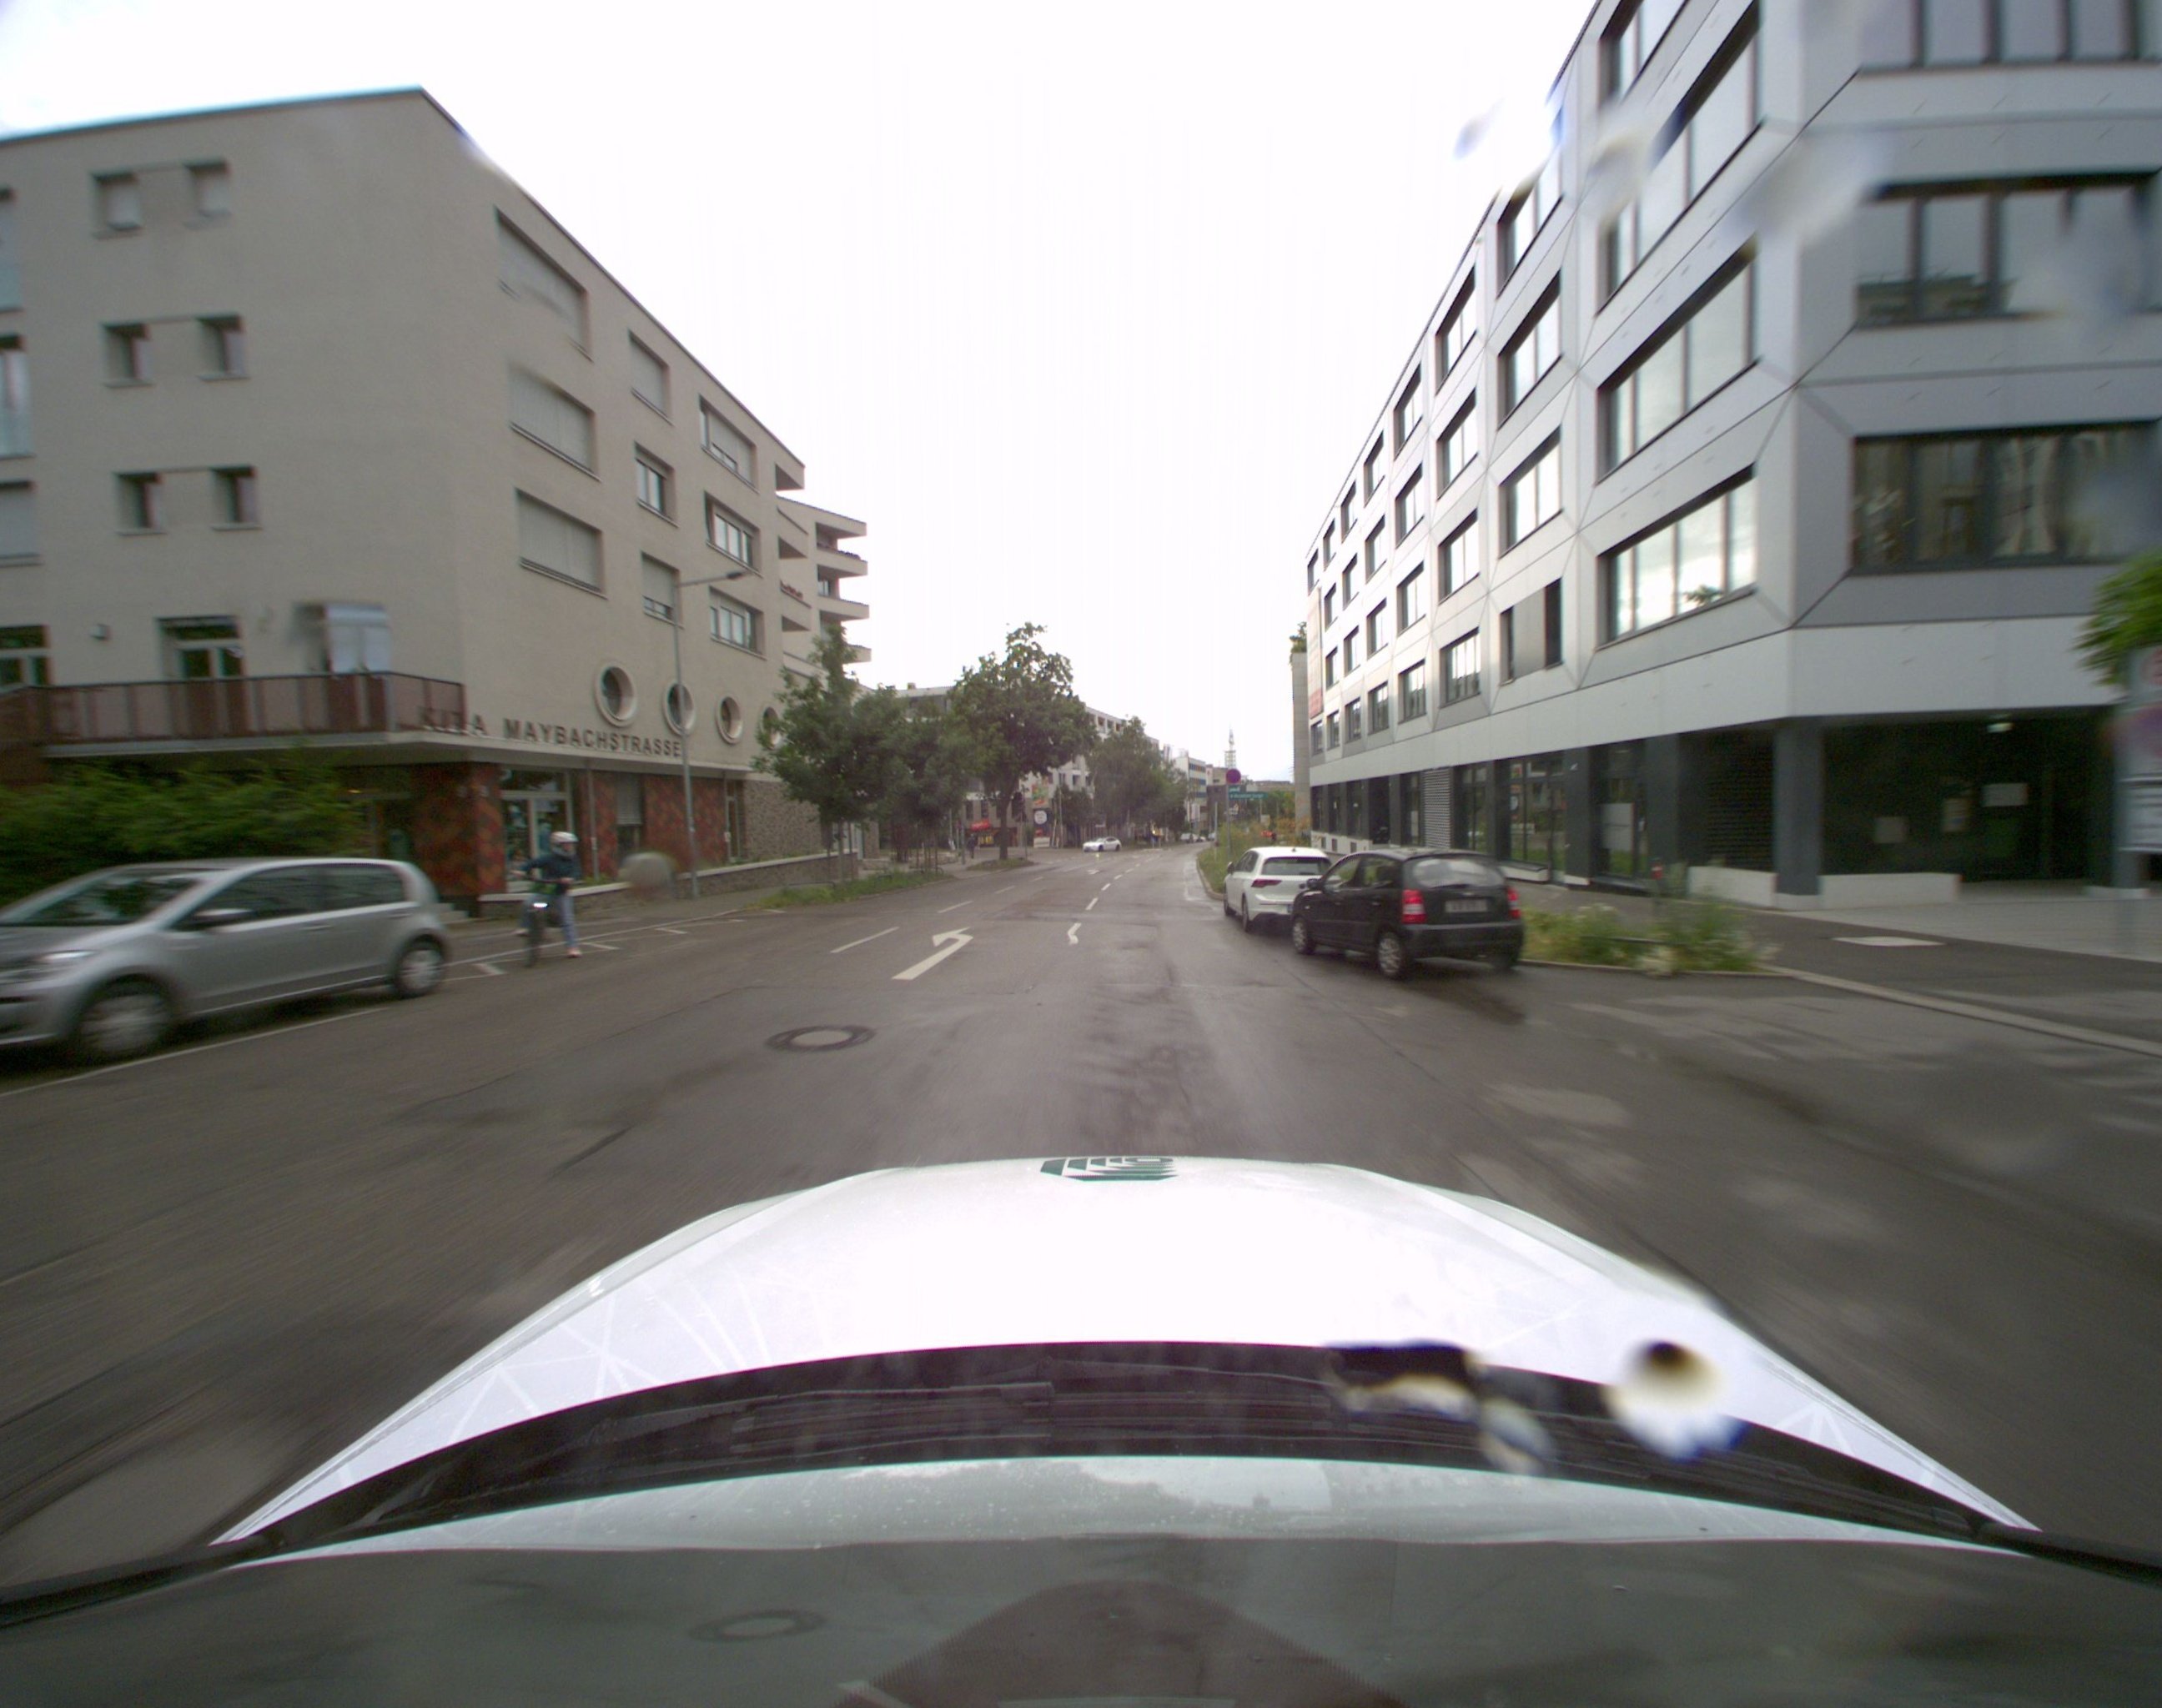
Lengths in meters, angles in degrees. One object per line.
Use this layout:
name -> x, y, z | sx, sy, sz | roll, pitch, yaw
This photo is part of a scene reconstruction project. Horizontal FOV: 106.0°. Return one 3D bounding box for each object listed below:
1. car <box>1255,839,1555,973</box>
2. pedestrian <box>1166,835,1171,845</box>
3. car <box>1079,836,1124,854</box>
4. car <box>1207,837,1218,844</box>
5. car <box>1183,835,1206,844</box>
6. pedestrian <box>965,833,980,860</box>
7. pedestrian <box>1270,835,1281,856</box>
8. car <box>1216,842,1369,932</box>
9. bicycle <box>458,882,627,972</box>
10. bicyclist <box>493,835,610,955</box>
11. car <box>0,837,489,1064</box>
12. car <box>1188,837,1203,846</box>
car -> 4.029, 0.523, 10.986 | 2.043, 1.458, 4.044 | 0, 1, -8
pedestrian -> 14.496, -2.321, 135.284 | 0.703, 1.683, 0.960 | -1, 1, 12
car -> 2.041, -0.878, 78.930 | 2.037, 1.660, 4.852 | 0, 1, 35
car -> 25.994, -2.630, 161.049 | 1.900, 1.481, 4.373 | 0, 1, 14
car -> 20.737, -2.616, 148.829 | 3.956, 1.576, 2.007 | 0, 1, 12
pedestrian -> -8.006, -0.537, 60.329 | 1.053, 2.013, 1.098 | 0, 0, -5
pedestrian -> 16.384, -0.709, 68.740 | 0.817, 1.796, 0.780 | -1, 0, 10
car -> 3.869, 0.515, 15.742 | 2.031, 1.464, 4.507 | 0, 1, 3
bicycle -> -7.078, 0.911, 10.882 | 0.799, 0.979, 2.253 | 0, 0, -2
bicyclist -> -7.077, 0.512, 10.953 | 0.799, 1.522, 1.201 | 0, 0, -3
car -> -7.673, 0.604, 7.218 | 1.871, 1.462, 3.851 | 0, 1, 3
car -> 20.030, -2.119, 142.283 | 1.782, 1.516, 4.266 | 0, 1, 18
